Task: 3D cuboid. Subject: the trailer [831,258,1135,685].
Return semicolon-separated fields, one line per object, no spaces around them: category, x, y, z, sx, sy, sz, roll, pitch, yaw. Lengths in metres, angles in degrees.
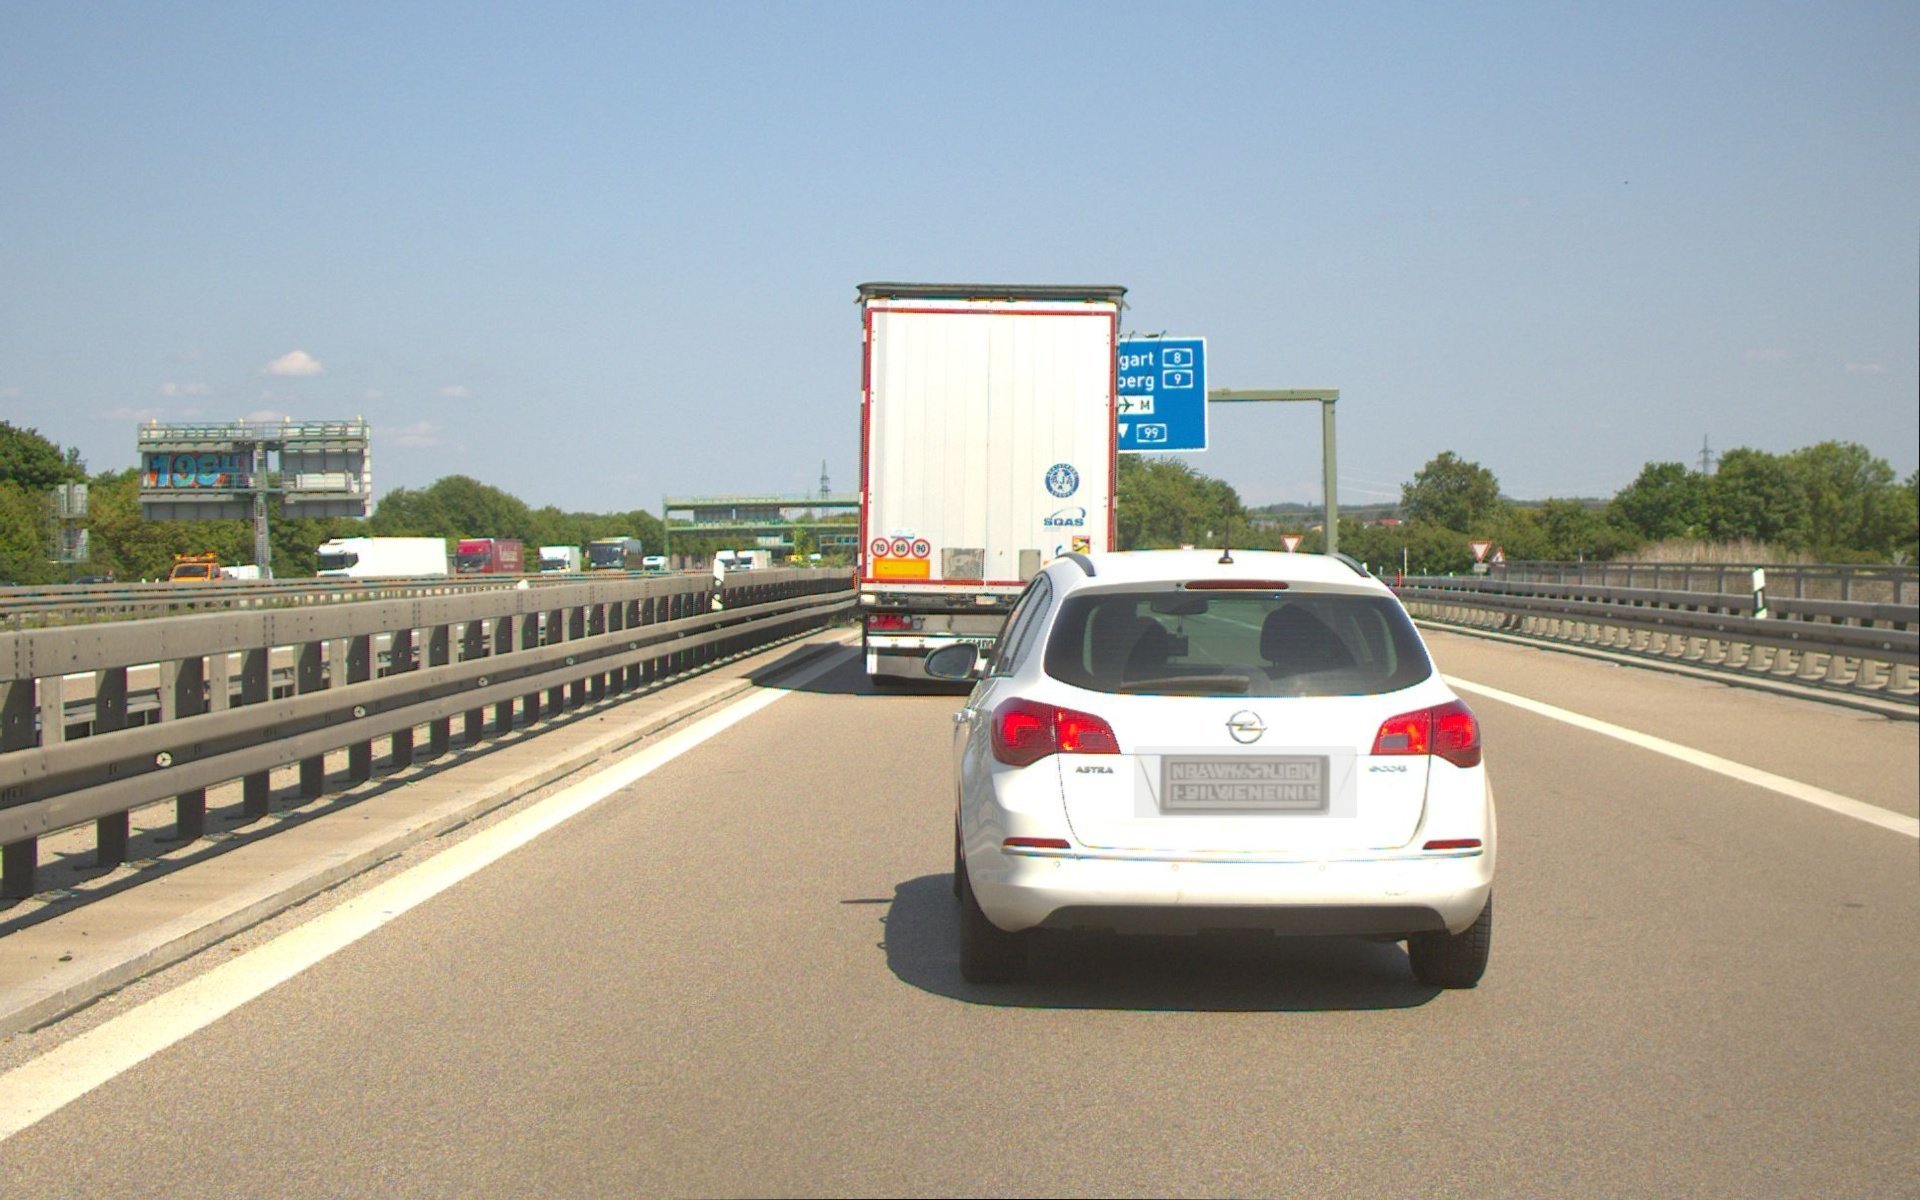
trailer;0.366;-1.283;39.157;2.912;4.131;11.257;1;0;1

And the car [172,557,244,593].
car;-32.831;-1.121;150.251;1.838;1.512;5.297;0;1;1

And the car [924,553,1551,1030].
car;0.834;0.561;12.772;1.854;1.438;4.372;0;1;-1
